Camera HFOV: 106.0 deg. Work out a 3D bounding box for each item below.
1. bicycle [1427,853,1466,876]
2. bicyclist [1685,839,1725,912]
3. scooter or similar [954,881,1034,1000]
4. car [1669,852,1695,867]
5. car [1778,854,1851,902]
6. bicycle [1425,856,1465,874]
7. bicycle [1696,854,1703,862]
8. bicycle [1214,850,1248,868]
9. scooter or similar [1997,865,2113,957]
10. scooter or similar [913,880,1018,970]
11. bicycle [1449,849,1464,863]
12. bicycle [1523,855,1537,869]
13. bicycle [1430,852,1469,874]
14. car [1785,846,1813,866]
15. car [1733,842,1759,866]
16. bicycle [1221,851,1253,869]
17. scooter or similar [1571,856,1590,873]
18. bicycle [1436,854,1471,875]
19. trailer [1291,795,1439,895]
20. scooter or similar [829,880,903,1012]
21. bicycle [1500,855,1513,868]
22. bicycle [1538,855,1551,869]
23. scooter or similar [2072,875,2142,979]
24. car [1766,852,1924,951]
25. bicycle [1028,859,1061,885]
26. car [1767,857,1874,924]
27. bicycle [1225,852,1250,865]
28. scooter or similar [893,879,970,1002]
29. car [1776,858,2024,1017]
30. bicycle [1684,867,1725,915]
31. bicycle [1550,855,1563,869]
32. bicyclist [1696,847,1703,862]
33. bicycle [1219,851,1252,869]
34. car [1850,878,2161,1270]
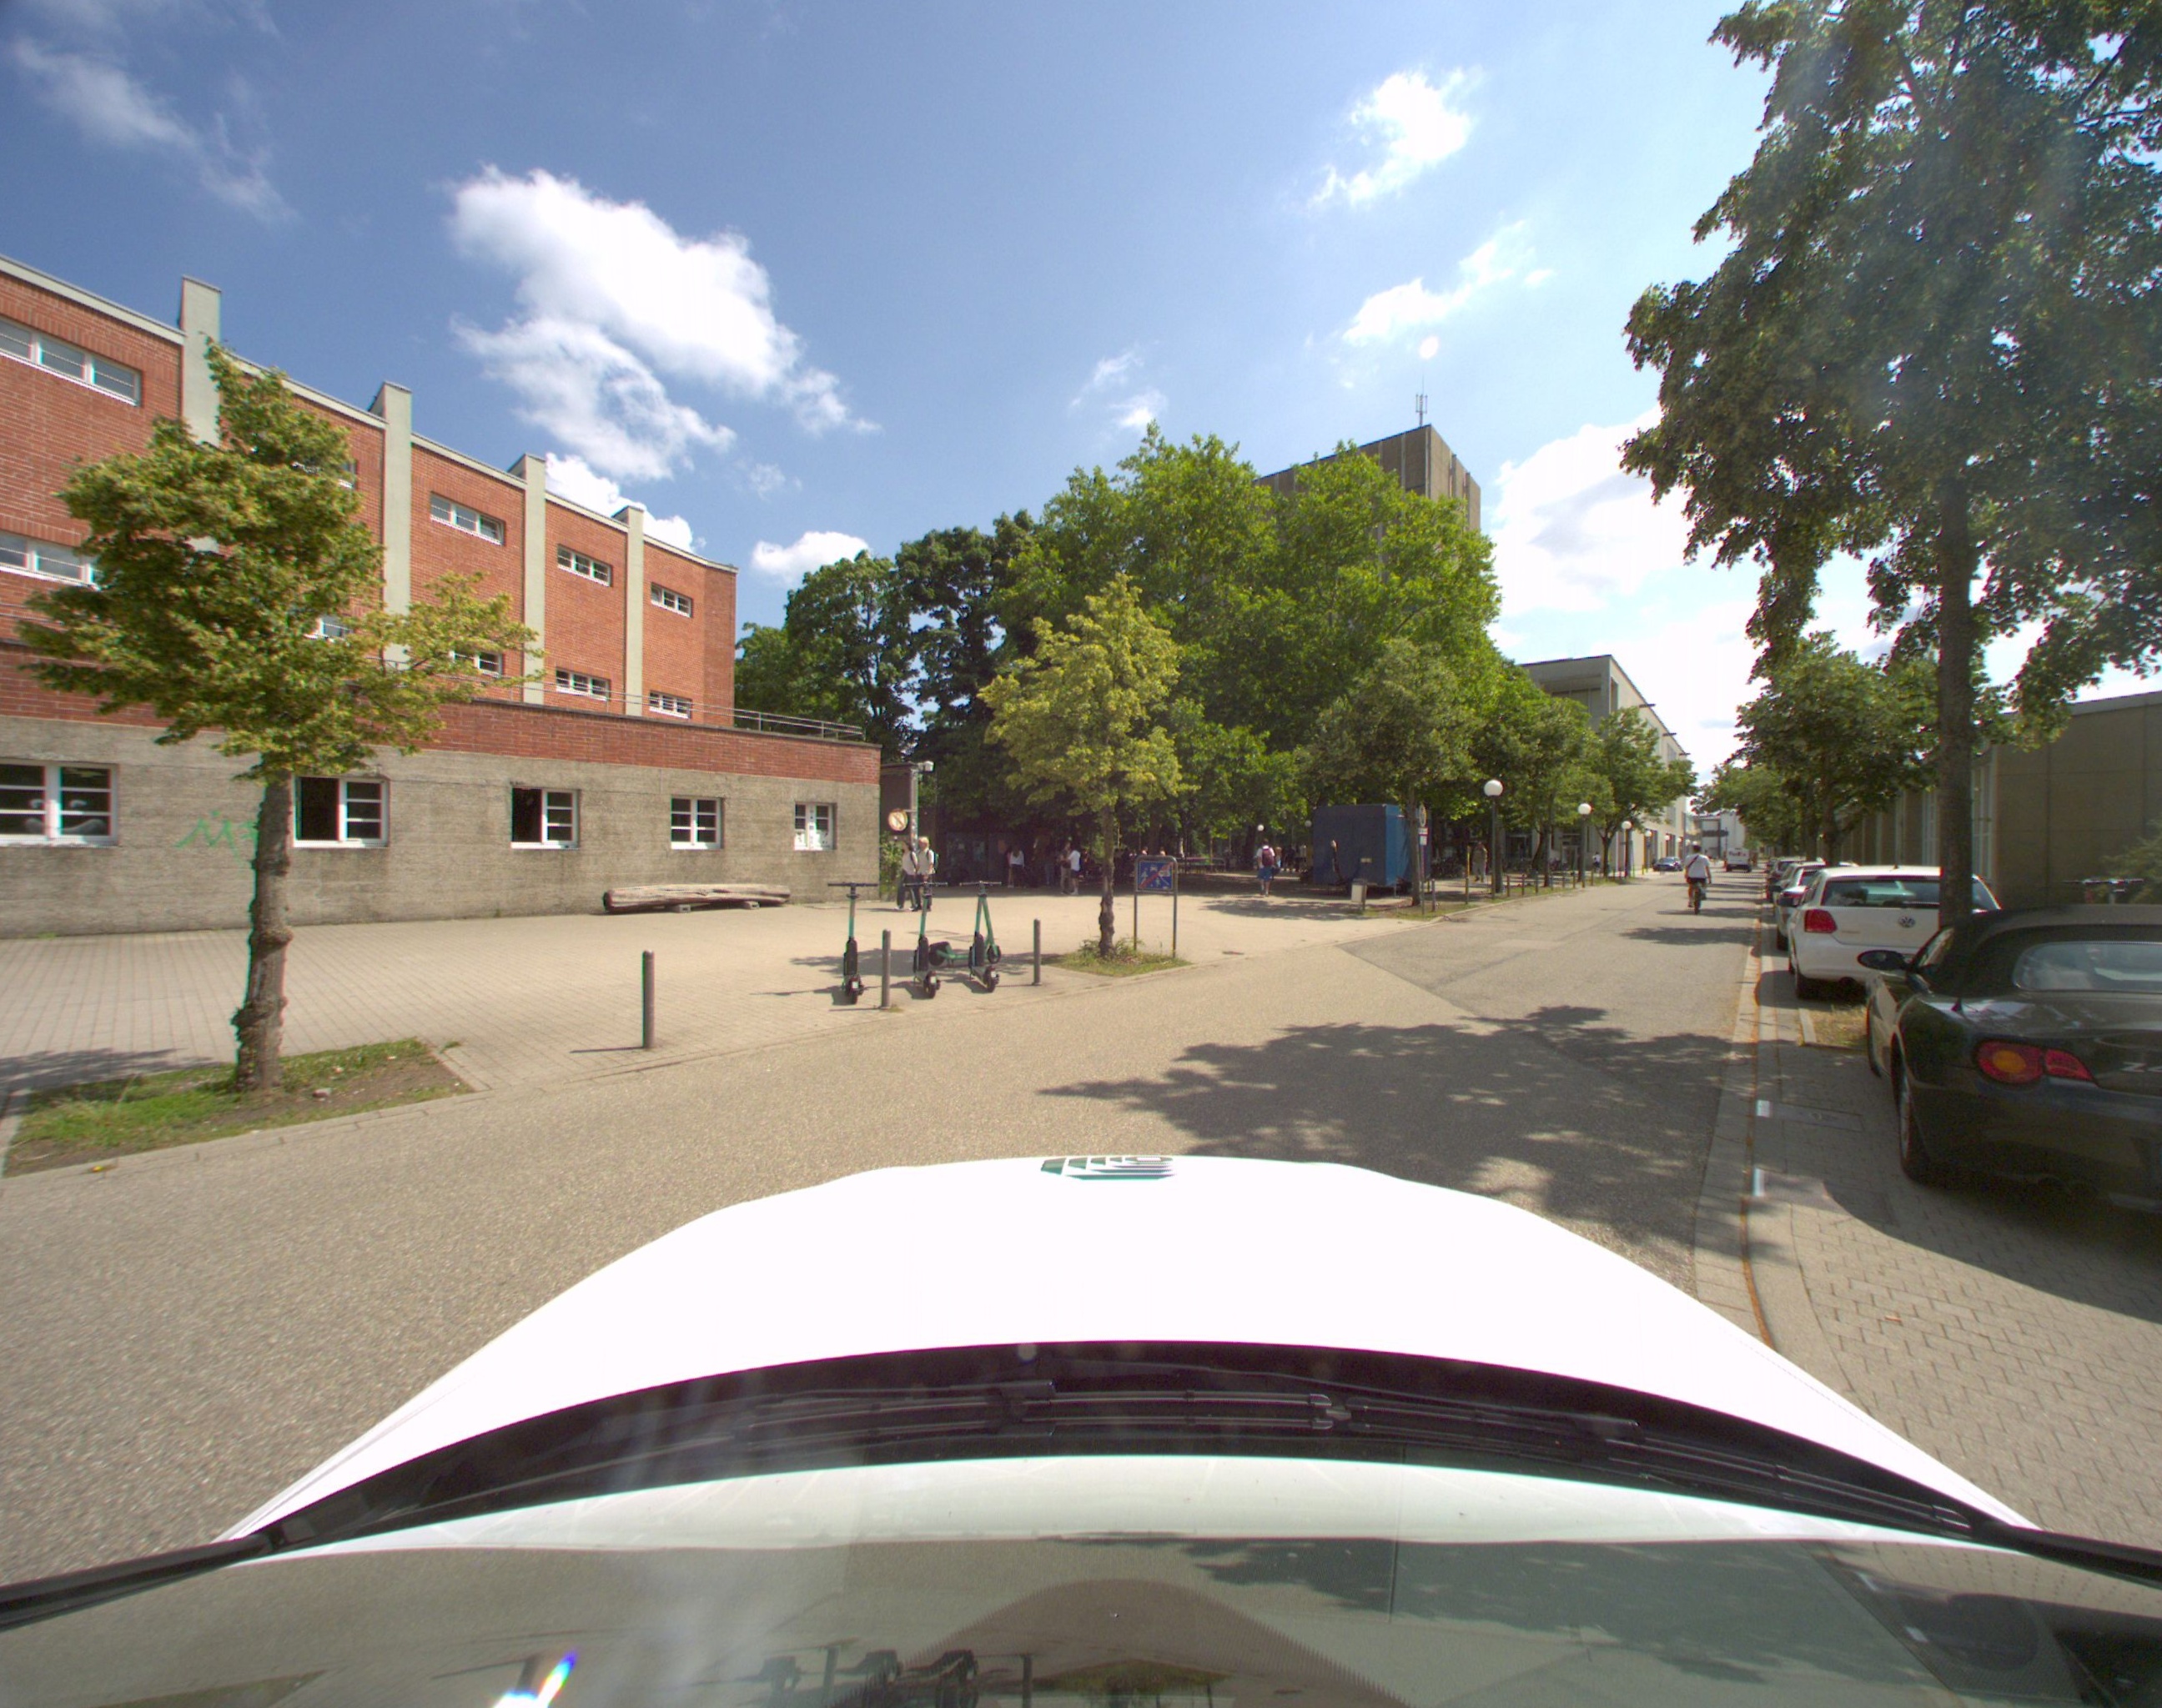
[{"bbox_3d":[21.287,0.589,47.415,2.036,1.234,0.813,1,1,23],"label":"bicycle"},{"bbox_3d":[17.604,0.590,22.962,0.865,2.013,0.855,1,0,38],"label":"bicyclist"},{"bbox_3d":[-1.061,0.965,9.641,0.524,1.225,1.563,0,0,-22],"label":"scooter or similar"},{"bbox_3d":[60.611,0.521,82.121,1.750,1.427,4.260,1,0,42],"label":"car"},{"bbox_3d":[26.352,0.818,29.353,1.687,1.574,4.166,-1,-1,39],"label":"car"},{"bbox_3d":[22.190,0.676,49.696,2.133,1.008,0.680,1,1,11],"label":"bicycle"},{"bbox_3d":[83.630,0.543,110.147,0.678,1.130,1.900,0,0,38],"label":"bicycle"},{"bbox_3d":[9.211,0.295,49.966,1.988,1.118,0.588,0,0,32],"label":"bicycle"},{"bbox_3d":[14.481,0.823,12.112,1.263,1.266,0.594,-2,1,-13],"label":"scooter or similar"},{"bbox_3d":[-1.598,0.955,11.386,1.356,1.149,0.558,0,0,-38],"label":"scooter or similar"},{"bbox_3d":[32.698,0.172,70.840,0.520,1.253,2.396,0,0,41],"label":"bicycle"},{"bbox_3d":[37.447,0.657,67.915,0.547,1.086,1.985,3,2,40],"label":"bicycle"},{"bbox_3d":[21.645,0.514,47.866,2.036,1.234,0.813,2,1,23],"label":"bicycle"},{"bbox_3d":[55.862,0.151,63.423,1.601,1.538,3.803,1,1,41],"label":"car"},{"bbox_3d":[70.994,-0.021,86.953,2.064,2.539,4.342,2,1,40],"label":"car"},{"bbox_3d":[10.161,0.384,53.076,1.988,1.118,0.588,0,0,32],"label":"bicycle"},{"bbox_3d":[36.776,0.766,59.926,1.326,1.175,0.338,1,1,-15],"label":"scooter or similar"},{"bbox_3d":[20.976,0.573,45.902,1.757,1.132,0.461,1,1,23],"label":"bicycle"},{"bbox_3d":[9.869,-0.306,27.935,2.671,3.026,6.305,2,1,40],"label":"trailer"},{"bbox_3d":[-2.343,0.927,8.775,0.571,1.225,1.563,0,0,-22],"label":"scooter or similar"},{"bbox_3d":[35.897,0.646,68.713,0.547,1.086,1.985,3,2,40],"label":"bicycle"},{"bbox_3d":[38.089,0.649,66.967,0.547,1.086,1.985,3,2,40],"label":"bicycle"},{"bbox_3d":[13.207,0.902,10.501,1.242,1.221,0.515,0,0,-40],"label":"scooter or similar"},{"bbox_3d":[13.030,0.710,14.108,1.630,1.390,4.014,-1,0,38],"label":"car"},{"bbox_3d":[-1.524,0.747,34.037,1.342,1.077,0.416,1,-2,-3],"label":"bicycle"},{"bbox_3d":[18.622,0.840,20.677,1.709,1.467,4.701,-1,0,39],"label":"car"},{"bbox_3d":[11.354,0.302,59.155,1.747,0.894,0.421,1,1,20],"label":"bicycle"},{"bbox_3d":[-1.744,0.933,9.344,0.565,1.225,1.563,0,0,-22],"label":"scooter or similar"},{"bbox_3d":[9.324,0.782,9.588,1.572,1.466,4.014,0,0,38],"label":"car"},{"bbox_3d":[17.570,1.000,22.938,0.874,1.199,2.767,1,1,38],"label":"bicycle"},{"bbox_3d":[38.677,0.643,66.203,0.547,1.086,1.985,3,2,40],"label":"bicycle"},{"bbox_3d":[83.659,0.072,110.188,0.704,2.014,1.025,-1,-1,38],"label":"bicyclist"},{"bbox_3d":[9.904,0.359,52.280,1.988,1.118,0.588,0,0,32],"label":"bicycle"},{"bbox_3d":[5.341,0.845,4.319,1.692,1.280,4.025,0,1,41],"label":"car"}]
